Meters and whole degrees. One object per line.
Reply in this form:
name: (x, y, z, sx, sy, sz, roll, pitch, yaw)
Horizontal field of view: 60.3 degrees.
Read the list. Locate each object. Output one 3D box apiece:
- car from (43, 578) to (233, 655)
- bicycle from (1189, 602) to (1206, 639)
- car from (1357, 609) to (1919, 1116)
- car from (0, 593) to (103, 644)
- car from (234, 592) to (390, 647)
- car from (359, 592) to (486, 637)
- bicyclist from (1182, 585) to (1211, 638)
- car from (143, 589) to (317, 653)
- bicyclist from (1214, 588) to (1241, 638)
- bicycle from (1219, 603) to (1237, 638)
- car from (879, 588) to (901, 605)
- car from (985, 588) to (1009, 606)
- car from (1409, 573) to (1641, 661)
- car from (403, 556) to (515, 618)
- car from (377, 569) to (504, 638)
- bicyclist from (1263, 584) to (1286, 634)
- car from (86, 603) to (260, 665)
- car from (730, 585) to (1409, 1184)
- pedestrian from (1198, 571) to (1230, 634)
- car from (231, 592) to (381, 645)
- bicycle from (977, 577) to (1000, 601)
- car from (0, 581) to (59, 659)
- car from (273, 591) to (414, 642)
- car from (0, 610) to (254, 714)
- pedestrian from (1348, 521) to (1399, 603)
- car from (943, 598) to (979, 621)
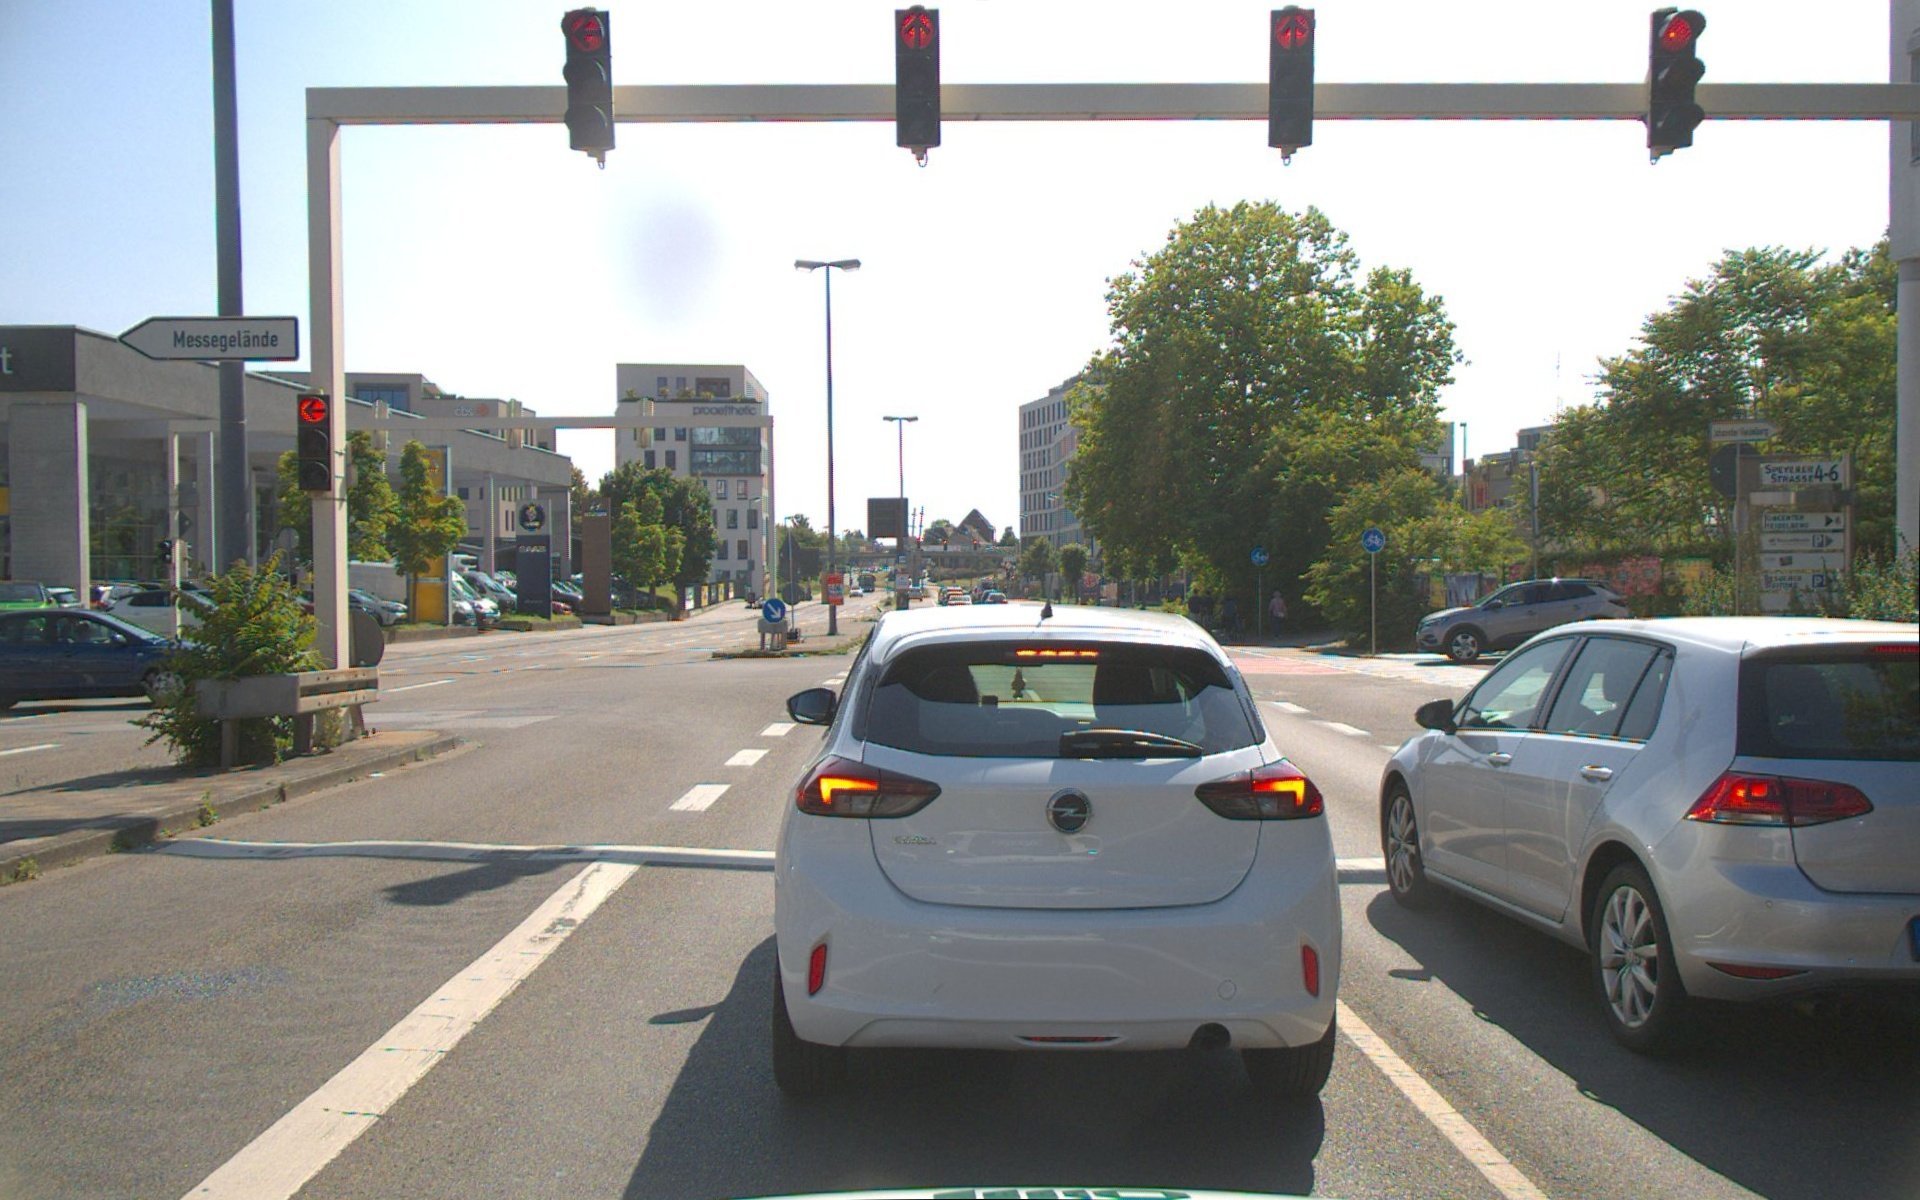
car: (-20.732, 0.402, 41.850, 3.793, 1.870, 1.999, -1, 0, -4)
bicycle: (8.159, 0.695, 56.808, 0.365, 1.238, 1.153, 1, 0, -1)
car: (3.099, 0.775, 6.866, 1.771, 1.454, 3.998, -1, 0, -3)
car: (-26.267, 0.535, 45.535, 4.276, 1.290, 1.996, -2, -1, -9)
car: (-21.020, 0.615, 53.775, 4.270, 1.726, 1.999, 0, 0, -3)
car: (-21.070, 0.556, 64.971, 4.265, 1.726, 2.001, -1, 0, 4)
bicyclist: (8.124, 0.400, 56.826, 0.861, 1.803, 0.863, 0, 0, -1)
car: (-21.391, 0.595, 48.632, 4.211, 1.796, 1.999, -1, 0, -4)
bicyclist: (9.035, 0.428, 55.916, 0.675, 1.672, 0.775, 0, 0, -9)
bicycle: (9.053, 0.677, 55.842, 0.366, 1.167, 1.034, 1, -1, -3)
car: (-6.030, -0.312, 142.569, 1.769, 1.410, 3.999, 1, -1, -1)
car: (3.035, -0.229, 135.337, 1.769, 1.410, 3.999, 1, -1, -1)
car: (11.878, 0.349, 35.069, 4.325, 1.578, 2.002, -3, 0, 10)
car: (-21.988, -0.582, 72.718, 4.265, 2.646, 2.001, -1, 0, 4)
car: (-21.142, 0.139, 67.418, 4.401, 2.731, 2.130, -1, 0, 8)
bicyclist: (10.741, 0.308, 56.527, 0.639, 1.666, 0.659, 1, -1, -1)
car: (-21.796, 0.932, 45.928, 3.912, 1.627, 1.997, -1, 0, -8)
car: (0.251, 0.721, 6.267, 1.743, 1.520, 3.999, -1, 0, -1)
pedestrian: (9.305, 0.077, 60.610, 1.006, 2.278, 1.038, 0, 0, -1)
car: (-22.137, 0.608, 56.114, 4.270, 1.726, 1.999, -1, 0, -4)
bicycle: (2.648, -1.051, 155.554, 1.953, 2.195, 3.999, -1, 0, -1)
car: (-22.562, 0.493, 38.955, 1.887, 1.764, 3.250, -1, -1, -37)
car: (-22.014, 0.582, 59.185, 4.270, 1.726, 1.999, -1, 0, -4)
car: (-13.122, 0.907, 24.886, 4.283, 1.472, 1.993, 0, 0, -14)
pedestrian: (10.455, -0.956, 41.826, 1.006, 2.049, 1.038, 0, 0, -1)
car: (0.035, 0.604, 101.651, 1.954, 1.355, 3.997, 1, -1, -3)
